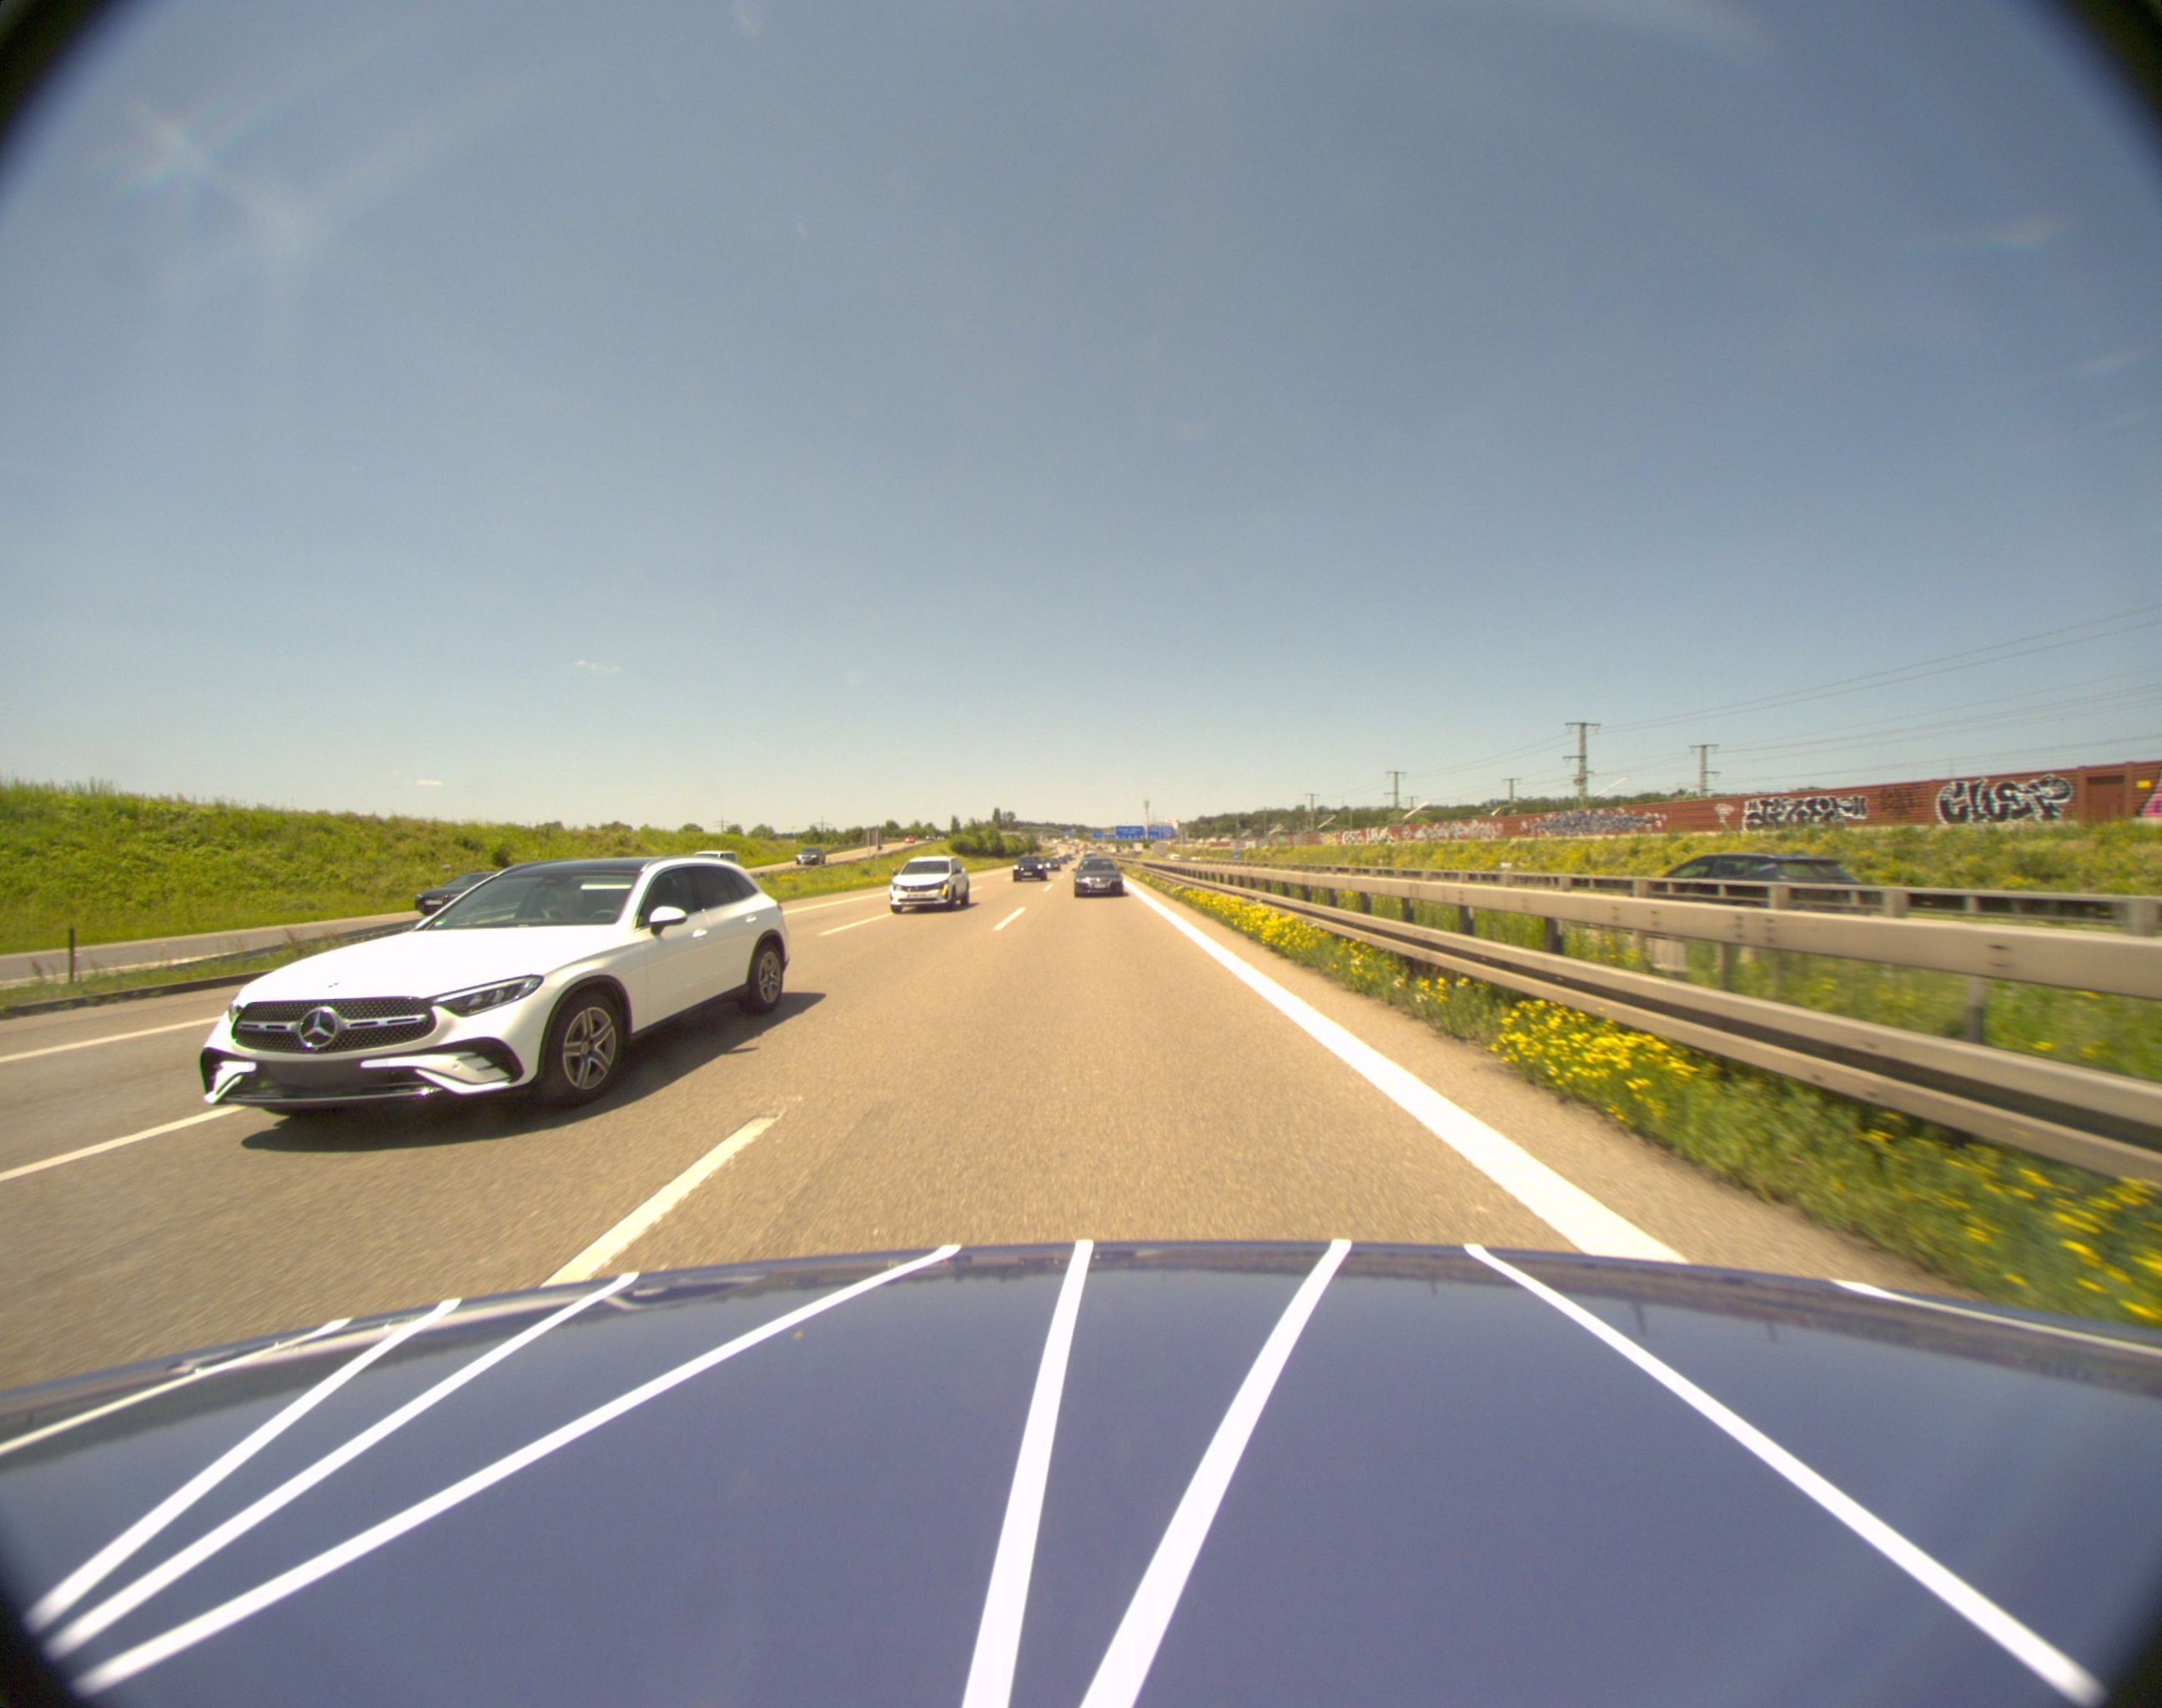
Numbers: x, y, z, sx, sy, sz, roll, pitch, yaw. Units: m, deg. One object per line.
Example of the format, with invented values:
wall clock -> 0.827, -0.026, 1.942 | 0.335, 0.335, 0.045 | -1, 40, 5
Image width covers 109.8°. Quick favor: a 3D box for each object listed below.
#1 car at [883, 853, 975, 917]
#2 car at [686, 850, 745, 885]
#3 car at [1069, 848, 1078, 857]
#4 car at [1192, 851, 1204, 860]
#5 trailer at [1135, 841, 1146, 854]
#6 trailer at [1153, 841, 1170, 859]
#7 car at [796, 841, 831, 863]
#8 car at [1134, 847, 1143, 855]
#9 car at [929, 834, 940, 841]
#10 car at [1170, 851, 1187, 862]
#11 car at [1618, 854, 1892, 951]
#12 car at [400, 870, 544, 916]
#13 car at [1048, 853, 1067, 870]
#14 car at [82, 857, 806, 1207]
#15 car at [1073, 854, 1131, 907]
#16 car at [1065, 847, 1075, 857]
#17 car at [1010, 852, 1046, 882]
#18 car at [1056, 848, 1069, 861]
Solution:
car -> -4.601, 0.871, 23.703 | 1.898, 1.620, 4.615 | -2, 1, 0
car -> -24.075, 0.868, 50.267 | 2.000, 2.159, 4.890 | -2, 0, -7
car -> -1.864, -0.453, 183.182 | 1.998, 2.002, 3.999 | -3, 2, 1
car -> 22.396, 0.305, 146.011 | 1.725, 1.535, 3.809 | -1, 0, 1
trailer -> 20.358, -2.324, 261.796 | 2.895, 4.382, 12.090 | 0, 1, 1
trailer -> 19.450, -0.960, 183.874 | 2.737, 4.050, 13.527 | 0, 1, 0
car -> -26.055, -0.244, 74.141 | 1.999, 2.002, 3.997 | -3, 2, -3
car -> 15.521, -0.739, 204.362 | 1.998, 2.002, 4.000 | -2, 0, 1
car -> -38.903, -4.391, 202.158 | 1.983, 1.620, 4.615 | -2, 1, -1
car -> 14.278, 0.345, 111.681 | 1.917, 1.535, 4.809 | -2, 0, 1
car -> 12.719, 0.810, 14.748 | 1.808, 1.565, 4.000 | -2, 0, 1
car -> -21.819, 1.334, 27.478 | 2.000, 1.375, 4.294 | -2, 1, -6
car -> -2.339, 0.695, 74.480 | 1.752, 1.462, 3.998 | -2, 2, -2
car -> -4.110, 0.932, 6.227 | 1.909, 1.646, 4.636 | -2, 1, 1
car -> 0.627, 0.839, 25.677 | 1.752, 1.462, 3.998 | -2, 2, -1
car -> -2.387, -0.501, 164.748 | 1.999, 2.002, 3.999 | -2, 1, -1
car -> -3.270, 0.755, 47.998 | 1.983, 1.620, 4.615 | -2, 1, -1
car -> -3.044, 0.036, 125.742 | 1.999, 2.002, 3.999 | -2, 1, -1
